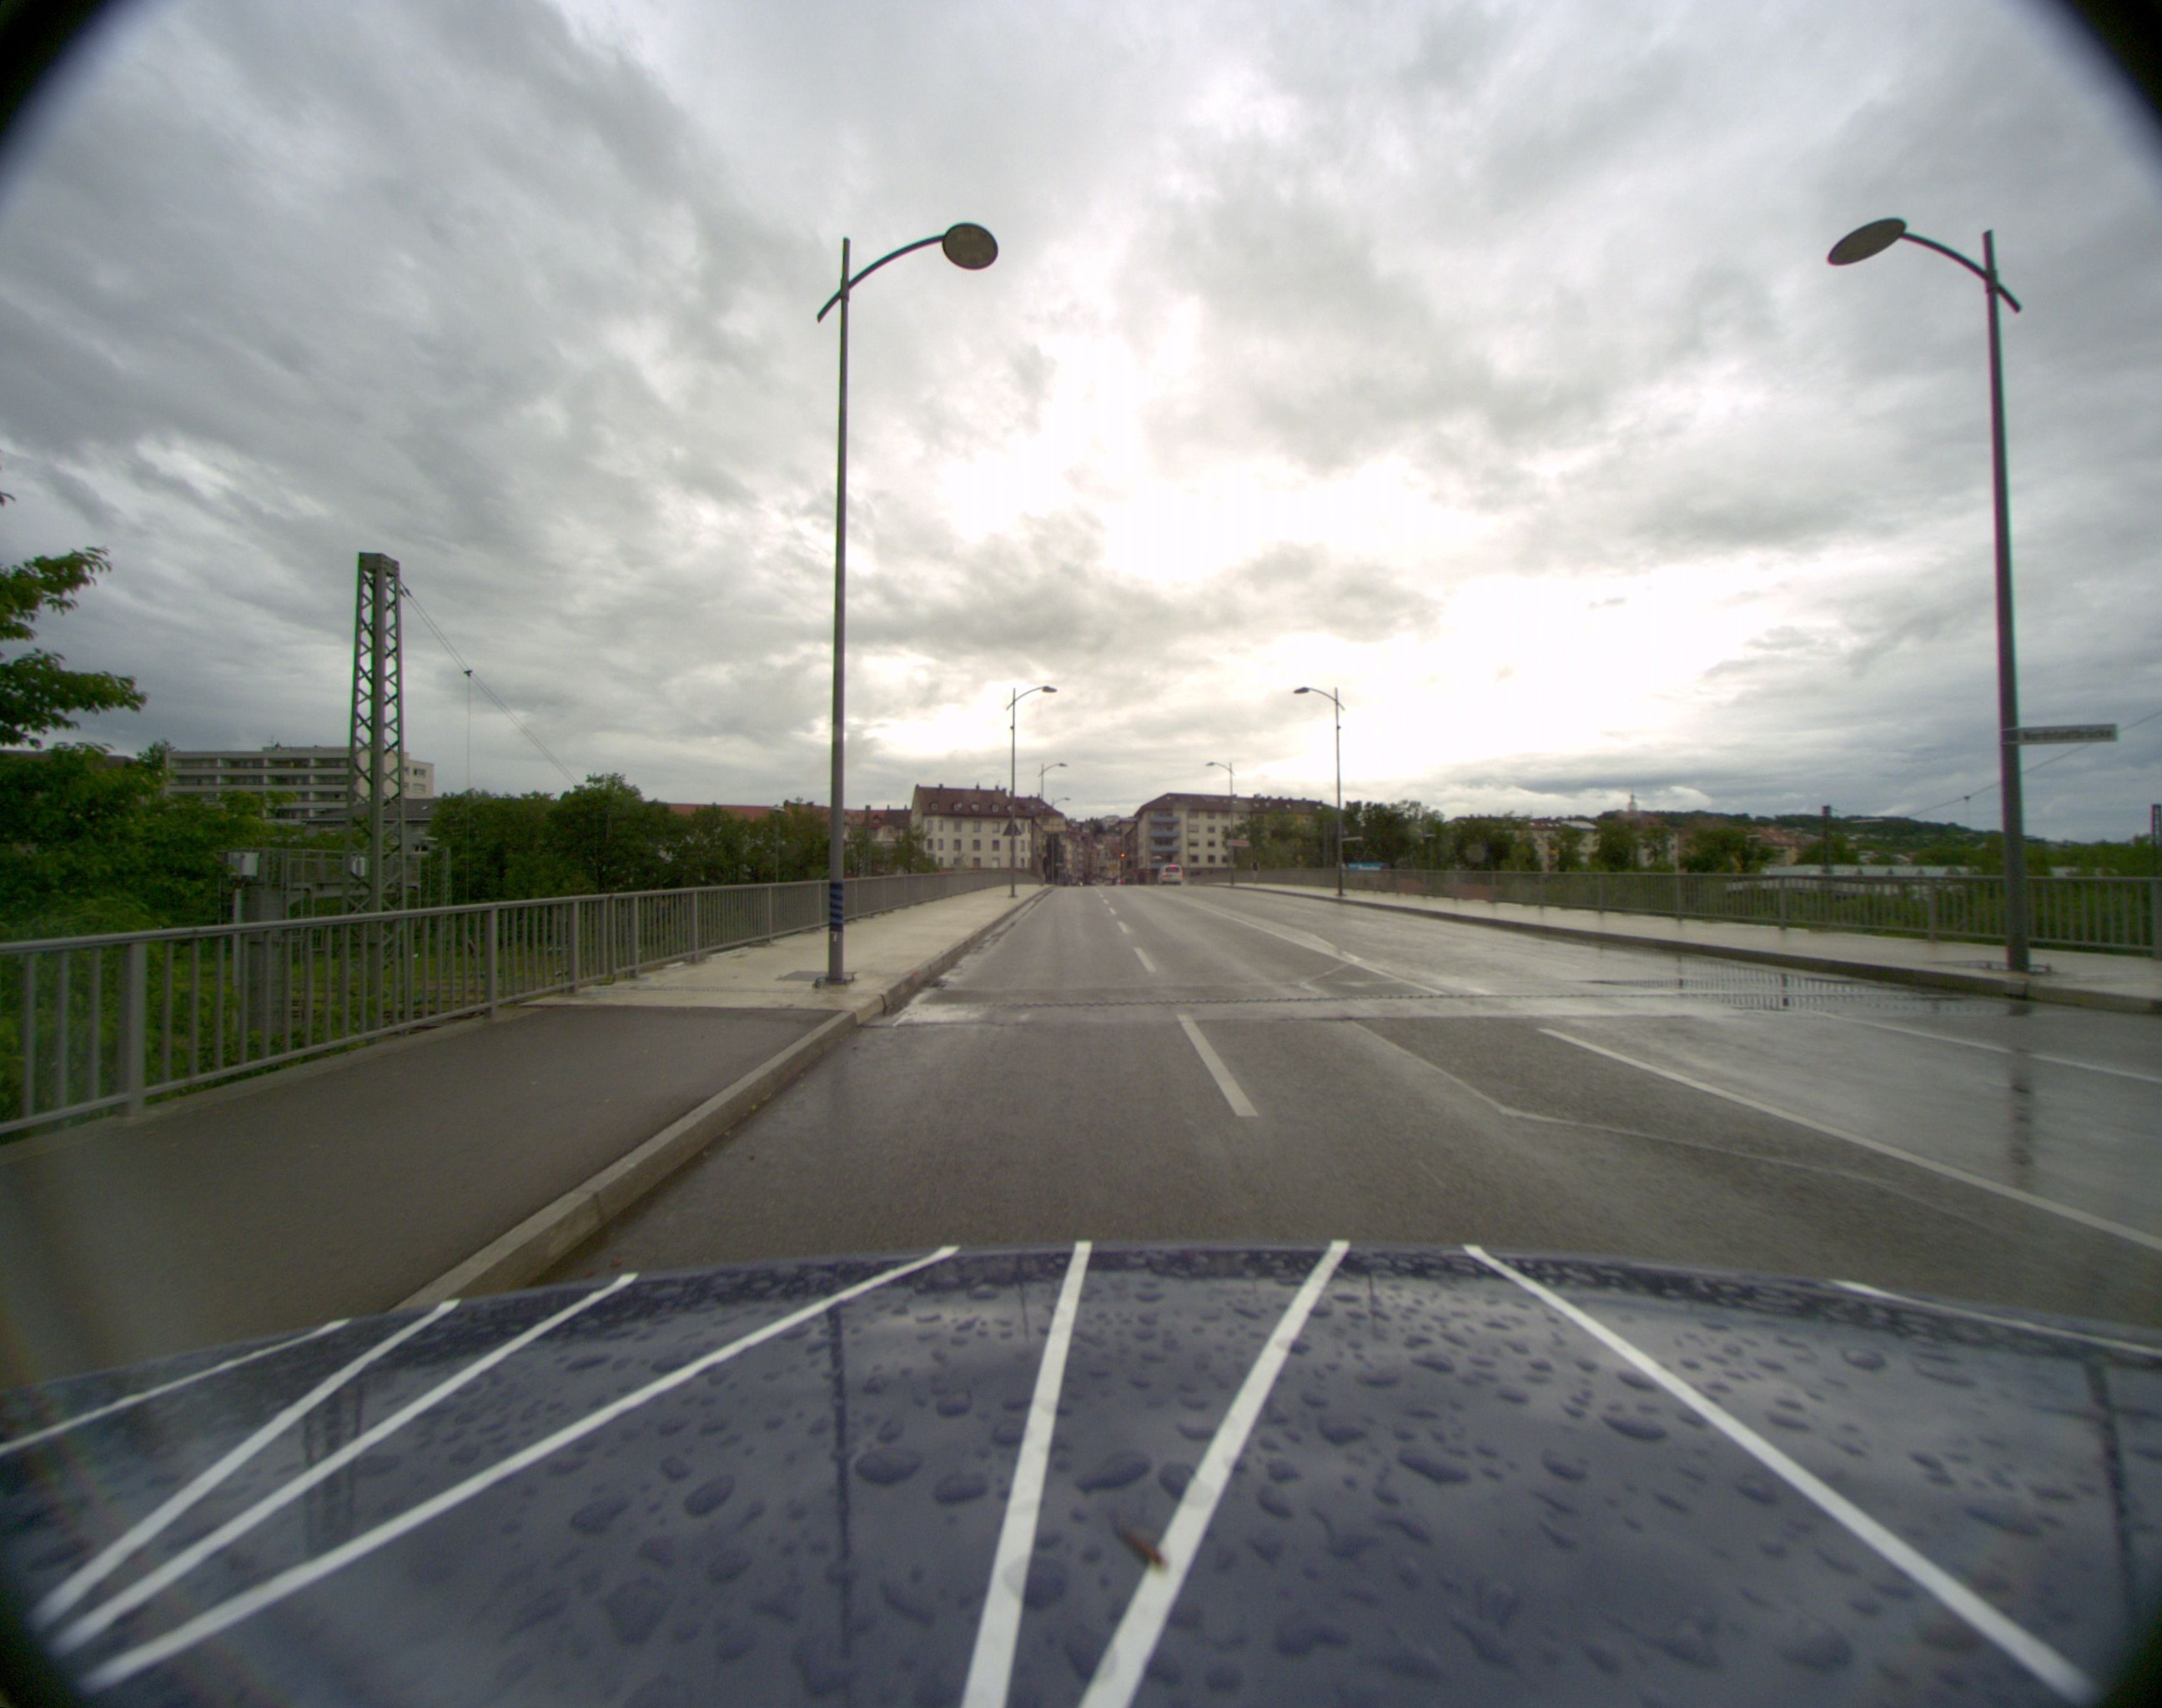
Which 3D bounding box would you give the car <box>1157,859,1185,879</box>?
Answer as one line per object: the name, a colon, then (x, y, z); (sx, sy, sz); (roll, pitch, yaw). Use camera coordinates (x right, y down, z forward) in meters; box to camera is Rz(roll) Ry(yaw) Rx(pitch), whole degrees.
car: (8.617, 1.479, 73.256); (1.891, 1.810, 4.959); (-2, -2, -2)
